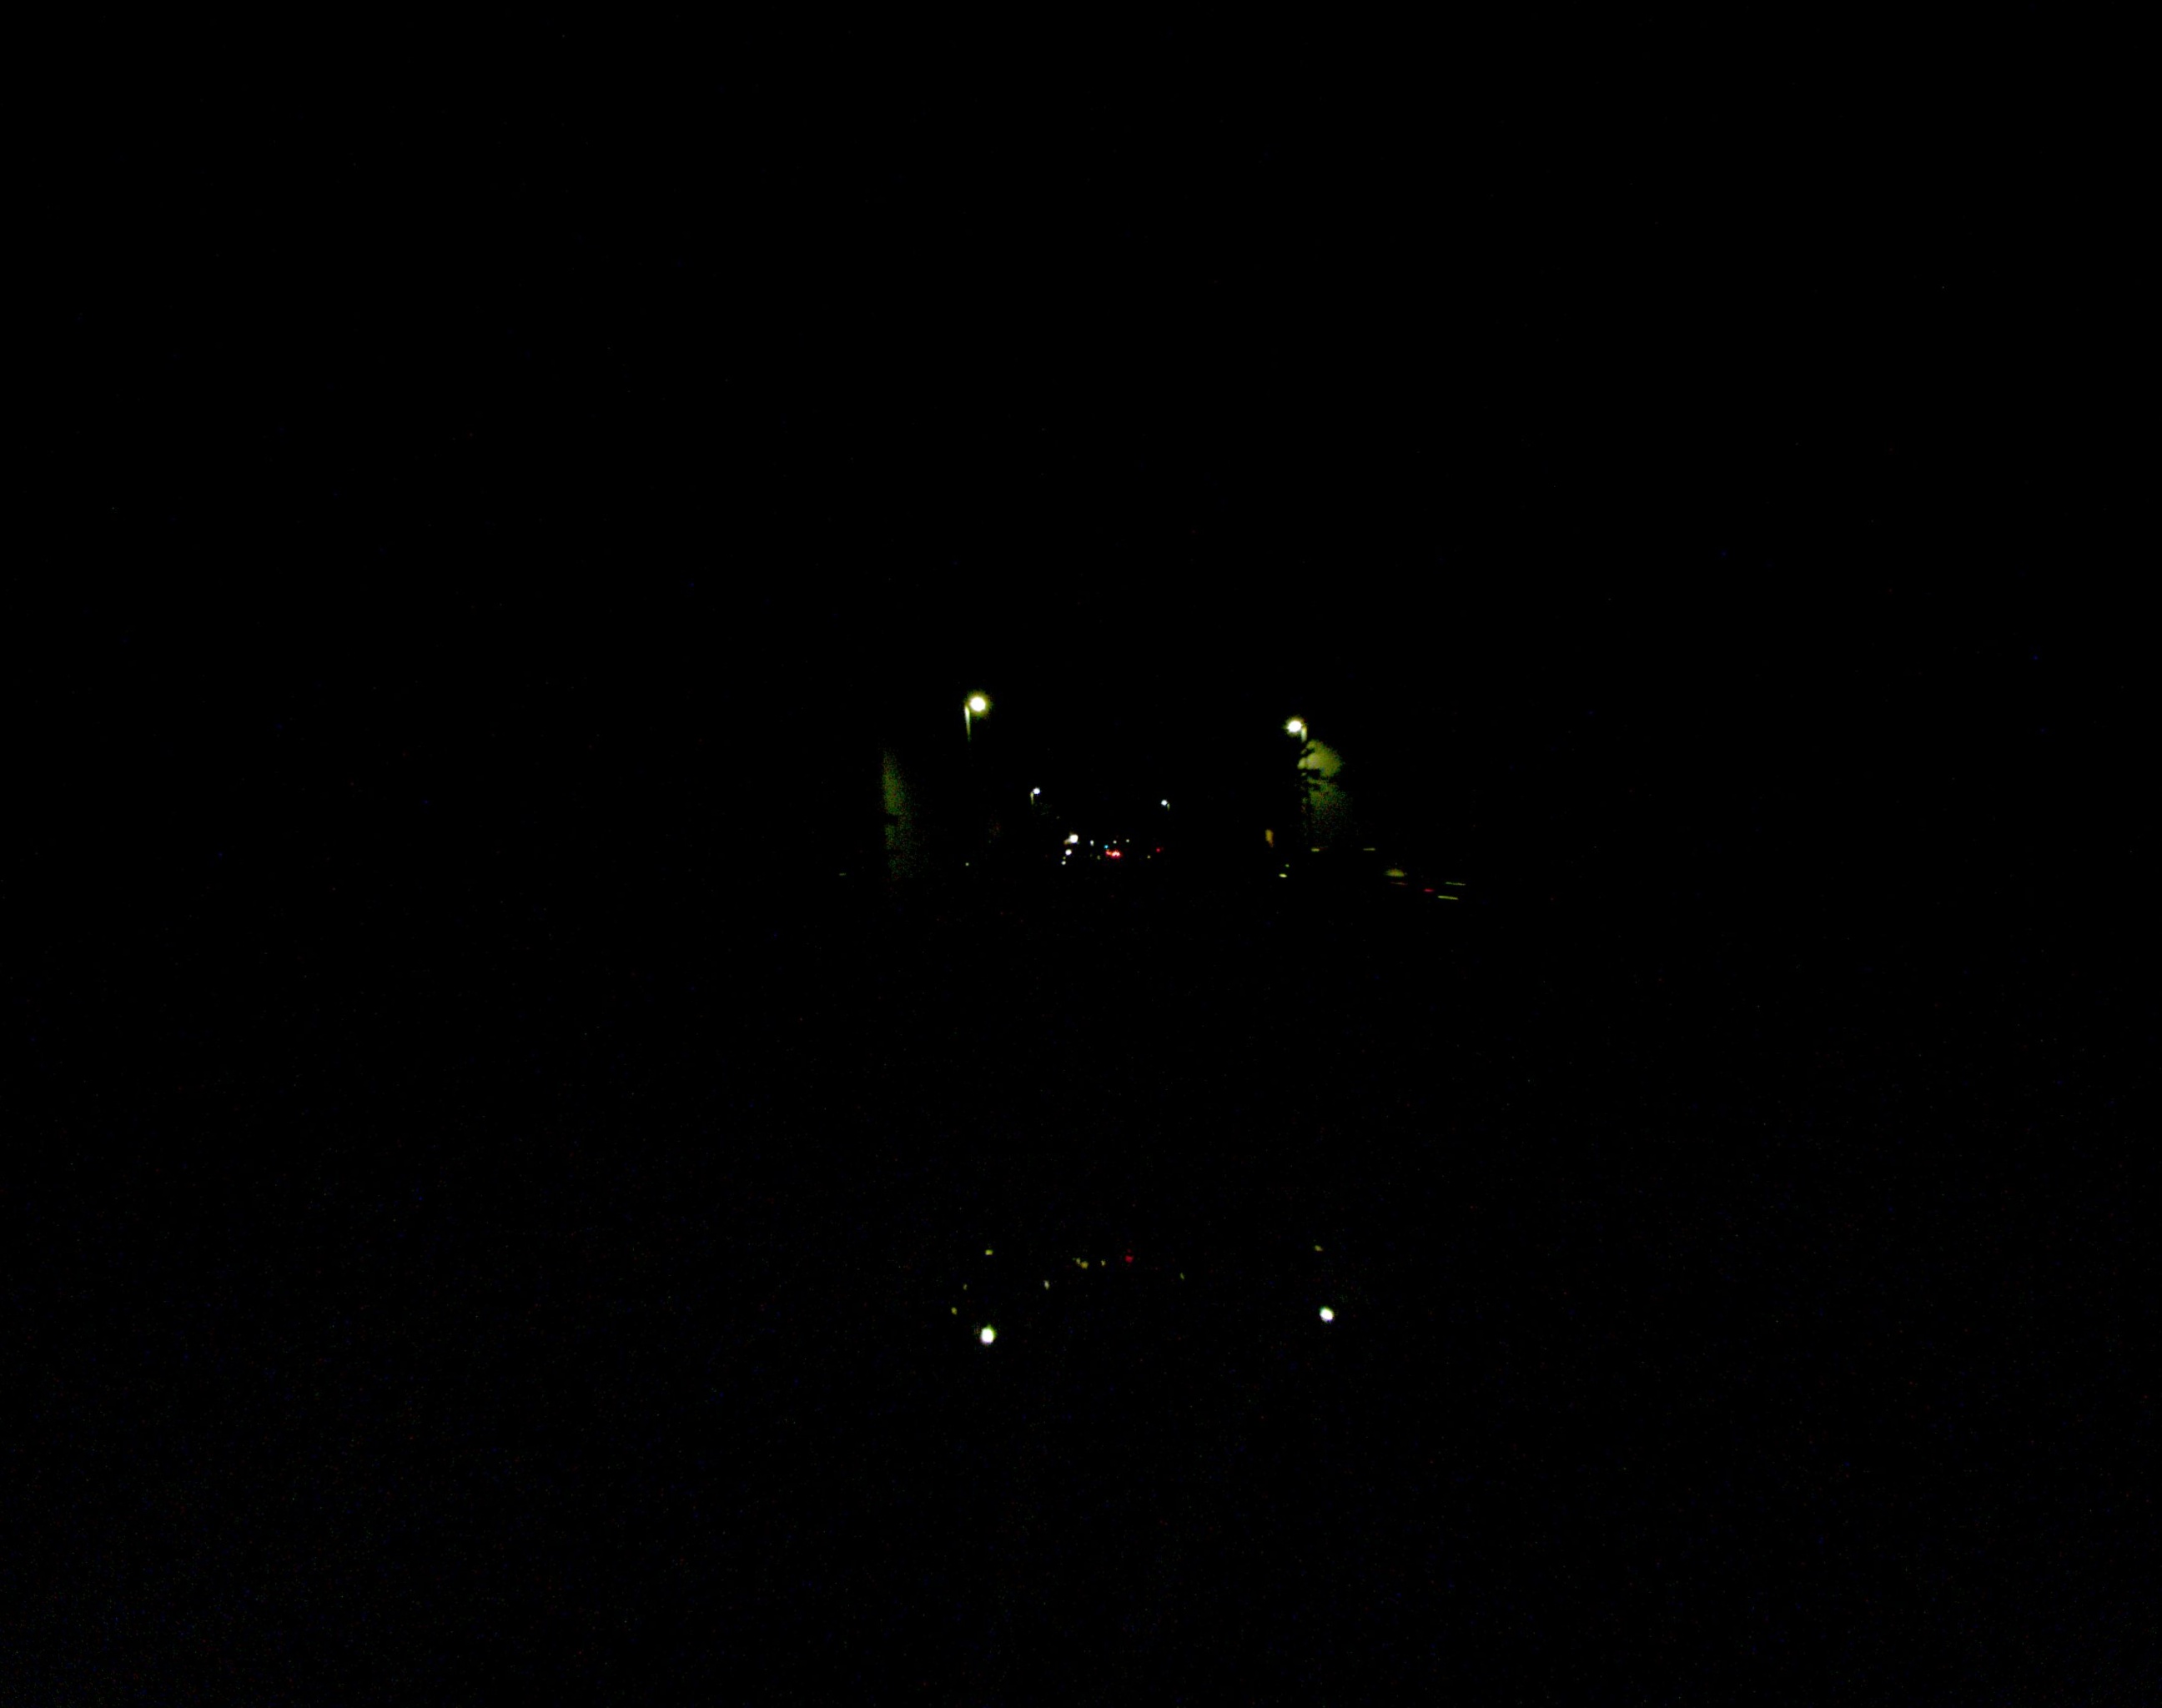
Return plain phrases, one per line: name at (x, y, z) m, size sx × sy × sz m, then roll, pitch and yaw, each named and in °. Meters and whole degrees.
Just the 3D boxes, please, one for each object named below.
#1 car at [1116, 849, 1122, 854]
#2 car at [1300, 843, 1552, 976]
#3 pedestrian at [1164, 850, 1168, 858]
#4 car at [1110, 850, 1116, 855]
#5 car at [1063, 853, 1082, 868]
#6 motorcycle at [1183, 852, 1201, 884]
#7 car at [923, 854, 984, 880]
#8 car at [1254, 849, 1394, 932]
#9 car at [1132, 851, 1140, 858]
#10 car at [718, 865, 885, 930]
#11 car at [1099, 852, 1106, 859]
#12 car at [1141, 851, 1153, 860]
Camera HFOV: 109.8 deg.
car at (12.119, -0.753, 244.120) m, size 1.720 × 1.420 × 3.816 m, roll -2°, pitch 0°, yaw 4°
car at (4.790, 0.664, 11.325) m, size 1.771 × 1.510 × 4.278 m, roll -3°, pitch 0°, yaw 0°
pedestrian at (16.693, -0.001, 149.581) m, size 0.529 × 1.579 × 0.665 m, roll -2°, pitch 1°, yaw -4°
car at (10.873, -0.677, 260.471) m, size 1.752 × 1.635 × 4.307 m, roll -2°, pitch 0°, yaw 0°
car at (-0.903, 0.670, 80.426) m, size 1.747 × 1.560 × 4.209 m, roll -1°, pitch 0°, yaw 2°
motorcycle at (5.212, 0.628, 35.500) m, size 0.747 × 1.444 × 2.197 m, roll -2°, pitch 0°, yaw 9°
car at (-7.965, 0.795, 47.762) m, size 3.514 × 1.516 × 1.820 m, roll 1°, pitch 1°, yaw 0°
car at (5.055, 0.676, 16.441) m, size 1.692 × 1.501 × 4.278 m, roll -2°, pitch 0°, yaw 1°
car at (13.446, 0.135, 187.239) m, size 1.814 × 1.637 × 3.804 m, roll -4°, pitch 0°, yaw 3°
car at (-7.370, 1.126, 20.252) m, size 3.720 × 1.464 × 1.730 m, roll -2°, pitch 1°, yaw 3°
car at (5.193, 0.376, 182.130) m, size 1.606 × 1.474 × 3.699 m, roll -1°, pitch 0°, yaw 1°
car at (11.561, 0.232, 133.208) m, size 1.900 × 1.411 × 4.931 m, roll -4°, pitch 0°, yaw 4°
